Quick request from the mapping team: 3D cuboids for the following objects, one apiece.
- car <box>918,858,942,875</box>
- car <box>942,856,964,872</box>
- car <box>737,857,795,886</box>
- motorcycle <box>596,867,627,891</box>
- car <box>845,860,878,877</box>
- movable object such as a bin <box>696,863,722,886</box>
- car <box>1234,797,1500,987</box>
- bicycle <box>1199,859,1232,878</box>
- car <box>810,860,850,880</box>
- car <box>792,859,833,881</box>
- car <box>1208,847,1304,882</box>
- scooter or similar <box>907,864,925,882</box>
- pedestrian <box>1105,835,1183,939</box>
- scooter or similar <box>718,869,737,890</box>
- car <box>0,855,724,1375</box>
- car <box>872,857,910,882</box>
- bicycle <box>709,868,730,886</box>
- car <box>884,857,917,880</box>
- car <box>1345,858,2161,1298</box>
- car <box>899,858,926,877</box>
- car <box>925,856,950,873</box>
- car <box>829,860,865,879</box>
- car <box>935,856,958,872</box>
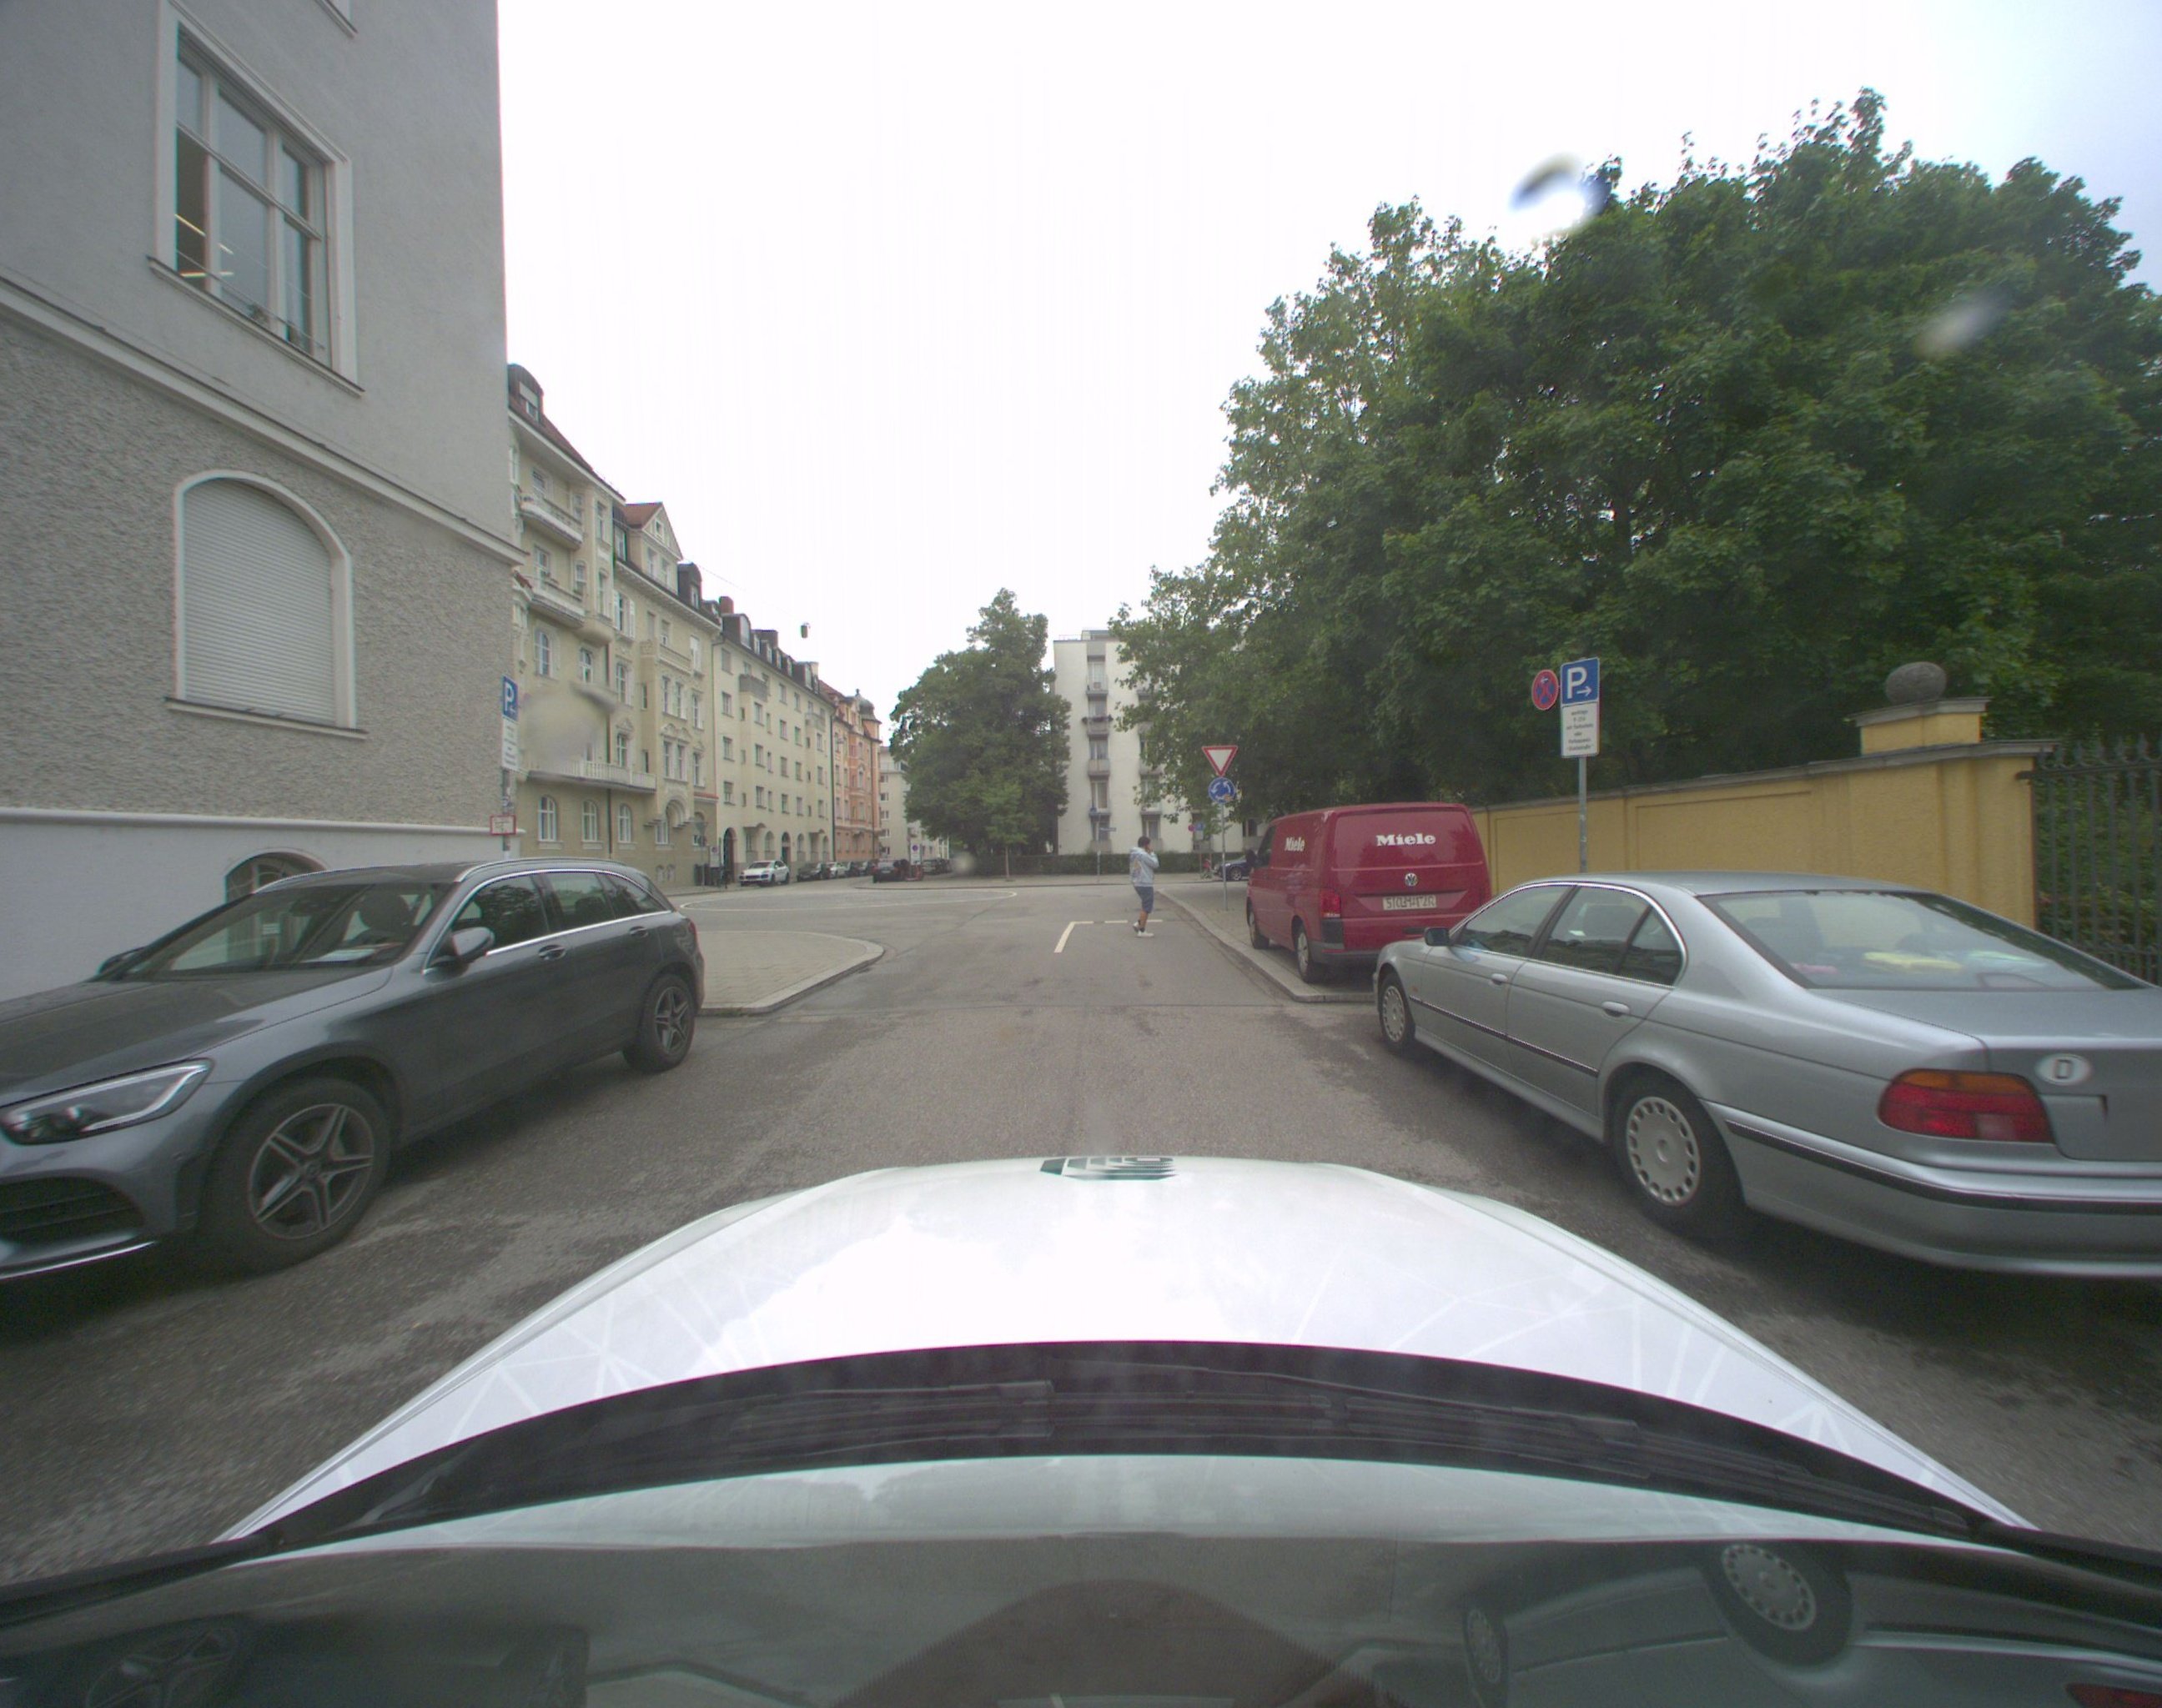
[{"bbox_3d":[-14.679,1.218,79.466,1.832,1.505,4.108,-2,0,-5],"label":"car"},{"bbox_3d":[-14.720,1.134,93.788,1.829,1.634,3.820,-2,0,1],"label":"car"},{"bbox_3d":[-20.321,1.088,52.739,1.970,1.700,4.836,-1,0,-2],"label":"car"},{"bbox_3d":[-24.305,1.278,42.183,0.596,1.176,1.829,-1,0,-2],"label":"motorcycle"},{"bbox_3d":[-21.065,1.384,78.327,1.969,1.581,4.407,-1,0,0],"label":"car"},{"bbox_3d":[-24.200,1.312,53.013,1.087,1.425,1.173,-1,0,0],"label":"movable object such as a bin"},{"bbox_3d":[3.345,0.382,10.669,1.867,1.920,4.888,0,0,1],"label":"car"},{"bbox_3d":[7.924,0.855,48.056,1.826,1.049,0.489,-1,0,-13],"label":"bicycle"},{"bbox_3d":[-20.955,1.295,68.162,1.969,1.581,4.407,-1,0,0],"label":"car"},{"bbox_3d":[-20.782,1.234,63.284,1.972,1.616,4.704,-1,0,-5],"label":"car"},{"bbox_3d":[9.795,0.583,45.698,4.892,1.792,1.995,-1,-1,-7],"label":"car"},{"bbox_3d":[-10.191,1.153,50.203,1.005,1.088,0.387,-1,0,-30],"label":"scooter or similar"},{"bbox_3d":[1.116,0.570,14.559,1.055,1.771,0.868,-1,0,-31],"label":"pedestrian"},{"bbox_3d":[-20.646,1.457,47.512,1.200,1.193,0.470,-1,-1,37],"label":"scooter or similar"},{"bbox_3d":[-4.019,0.846,4.771,1.740,1.602,4.497,-3,0,1],"label":"car"},{"bbox_3d":[-12.294,0.965,52.861,1.817,1.505,4.412,-2,0,-7],"label":"car"},{"bbox_3d":[-22.308,1.382,50.292,0.561,1.049,1.829,-1,0,-2],"label":"bicycle"},{"bbox_3d":[-12.821,1.010,58.088,1.791,1.505,4.224,-2,0,-7],"label":"car"},{"bbox_3d":[3.266,0.765,4.932,1.879,1.448,4.367,0,0,-1],"label":"car"},{"bbox_3d":[-14.085,1.115,68.376,1.792,1.505,4.105,-2,0,-7],"label":"car"},{"bbox_3d":[-14.810,1.097,84.075,1.830,1.634,4.113,-2,0,-1],"label":"car"},{"bbox_3d":[-21.037,1.342,73.327,1.969,1.581,4.407,-1,0,0],"label":"car"},{"bbox_3d":[-14.775,1.091,89.743,1.829,1.634,3.820,-2,0,1],"label":"car"}]
